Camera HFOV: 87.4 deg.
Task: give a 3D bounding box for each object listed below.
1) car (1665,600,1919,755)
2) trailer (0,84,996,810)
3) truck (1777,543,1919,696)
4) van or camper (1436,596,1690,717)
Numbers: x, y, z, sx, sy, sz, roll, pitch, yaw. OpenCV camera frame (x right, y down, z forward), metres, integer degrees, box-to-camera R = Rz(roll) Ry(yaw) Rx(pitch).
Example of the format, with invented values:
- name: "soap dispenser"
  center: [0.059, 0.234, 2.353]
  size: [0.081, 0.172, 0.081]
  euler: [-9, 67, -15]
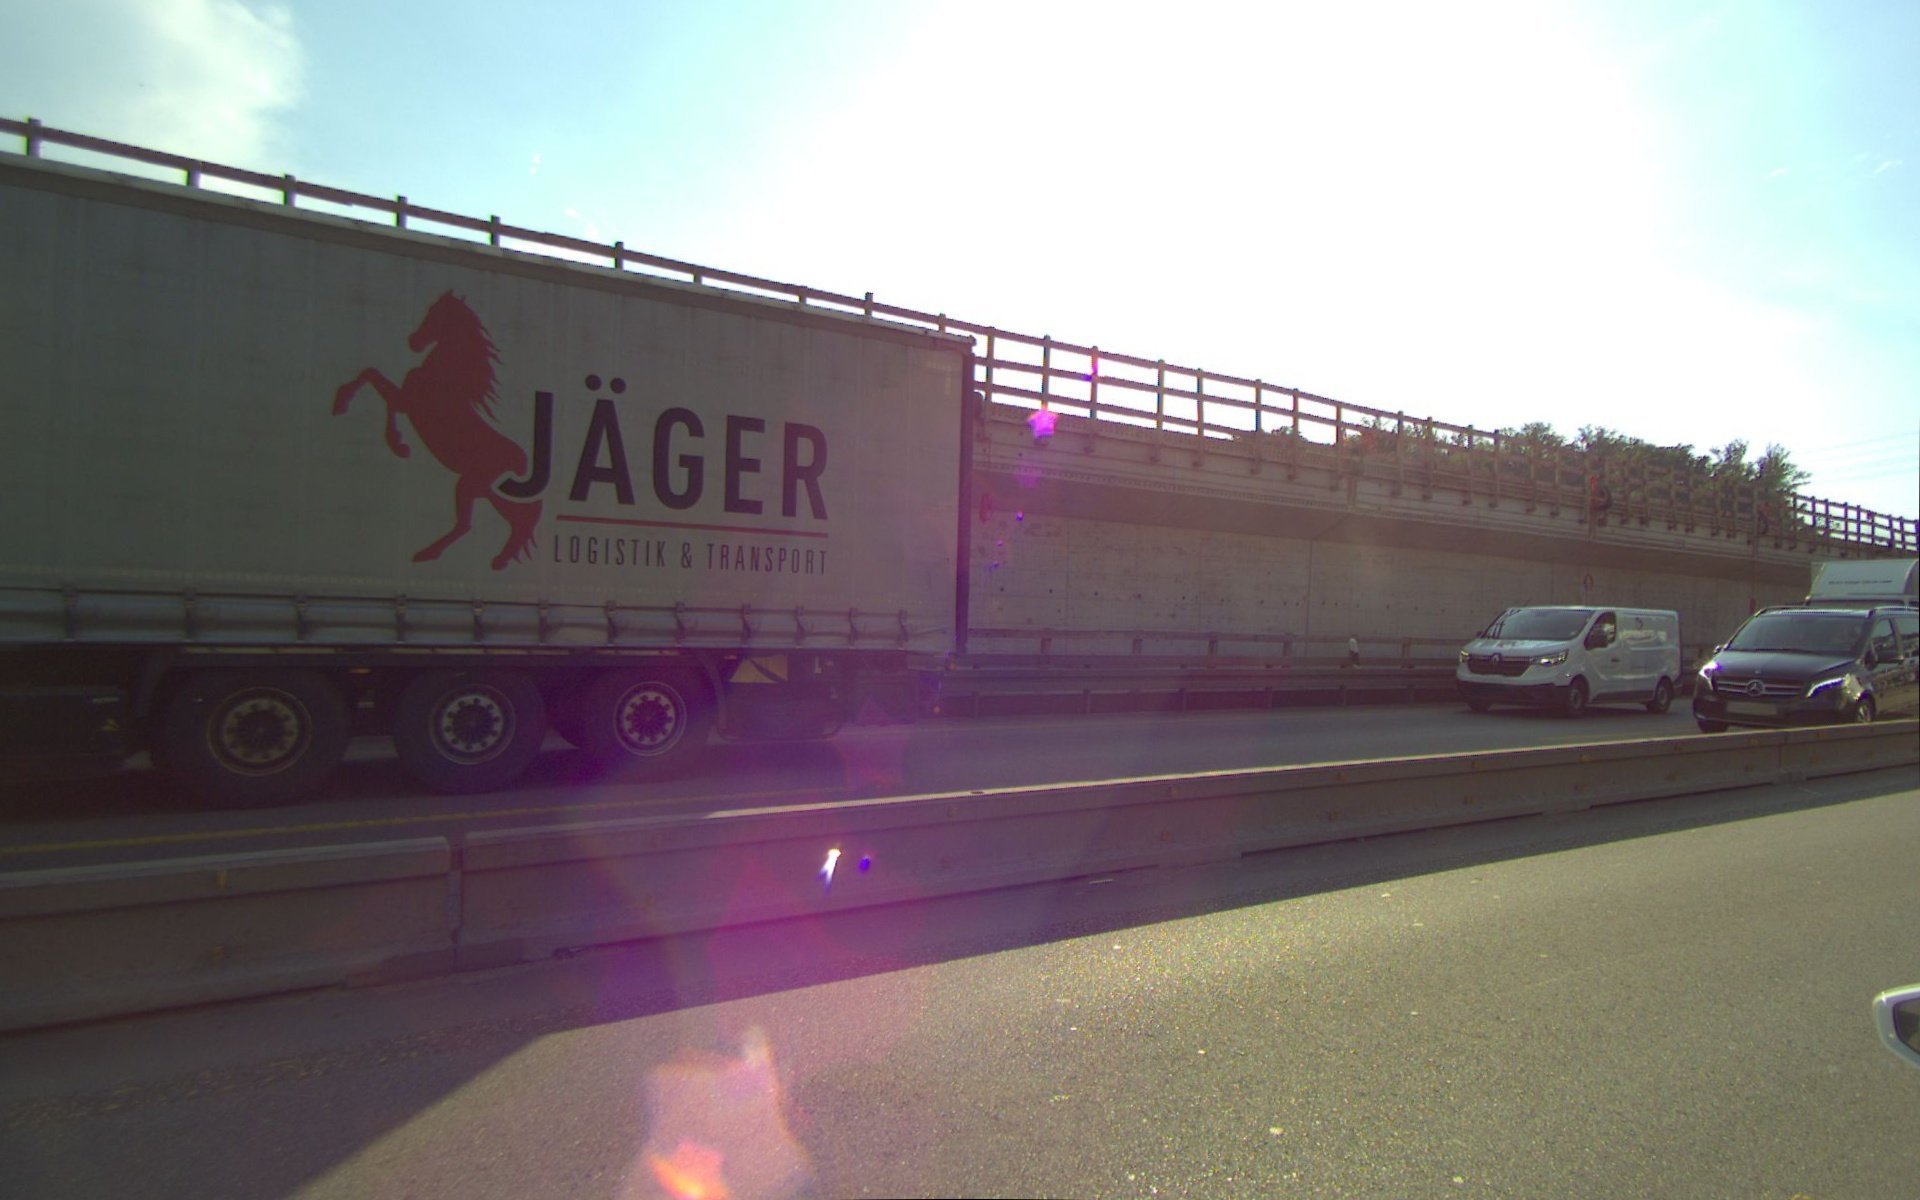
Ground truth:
- name: "car"
  center: [12.965, 1.065, 15.028]
  size: [5.230, 1.948, 1.975]
  euler: [2, 0, -31]
- name: "trailer"
  center: [-6.289, -0.908, 7.294]
  size: [13.612, 4.296, 2.898]
  euler: [3, -1, -31]
- name: "truck"
  center: [24.564, 0.675, 26.033]
  size: [8.049, 3.468, 2.701]
  euler: [3, -4, -31]
- name: "van or camper"
  center: [11.077, 0.979, 18.369]
  size: [4.866, 1.948, 1.907]
  euler: [2, 0, -31]
